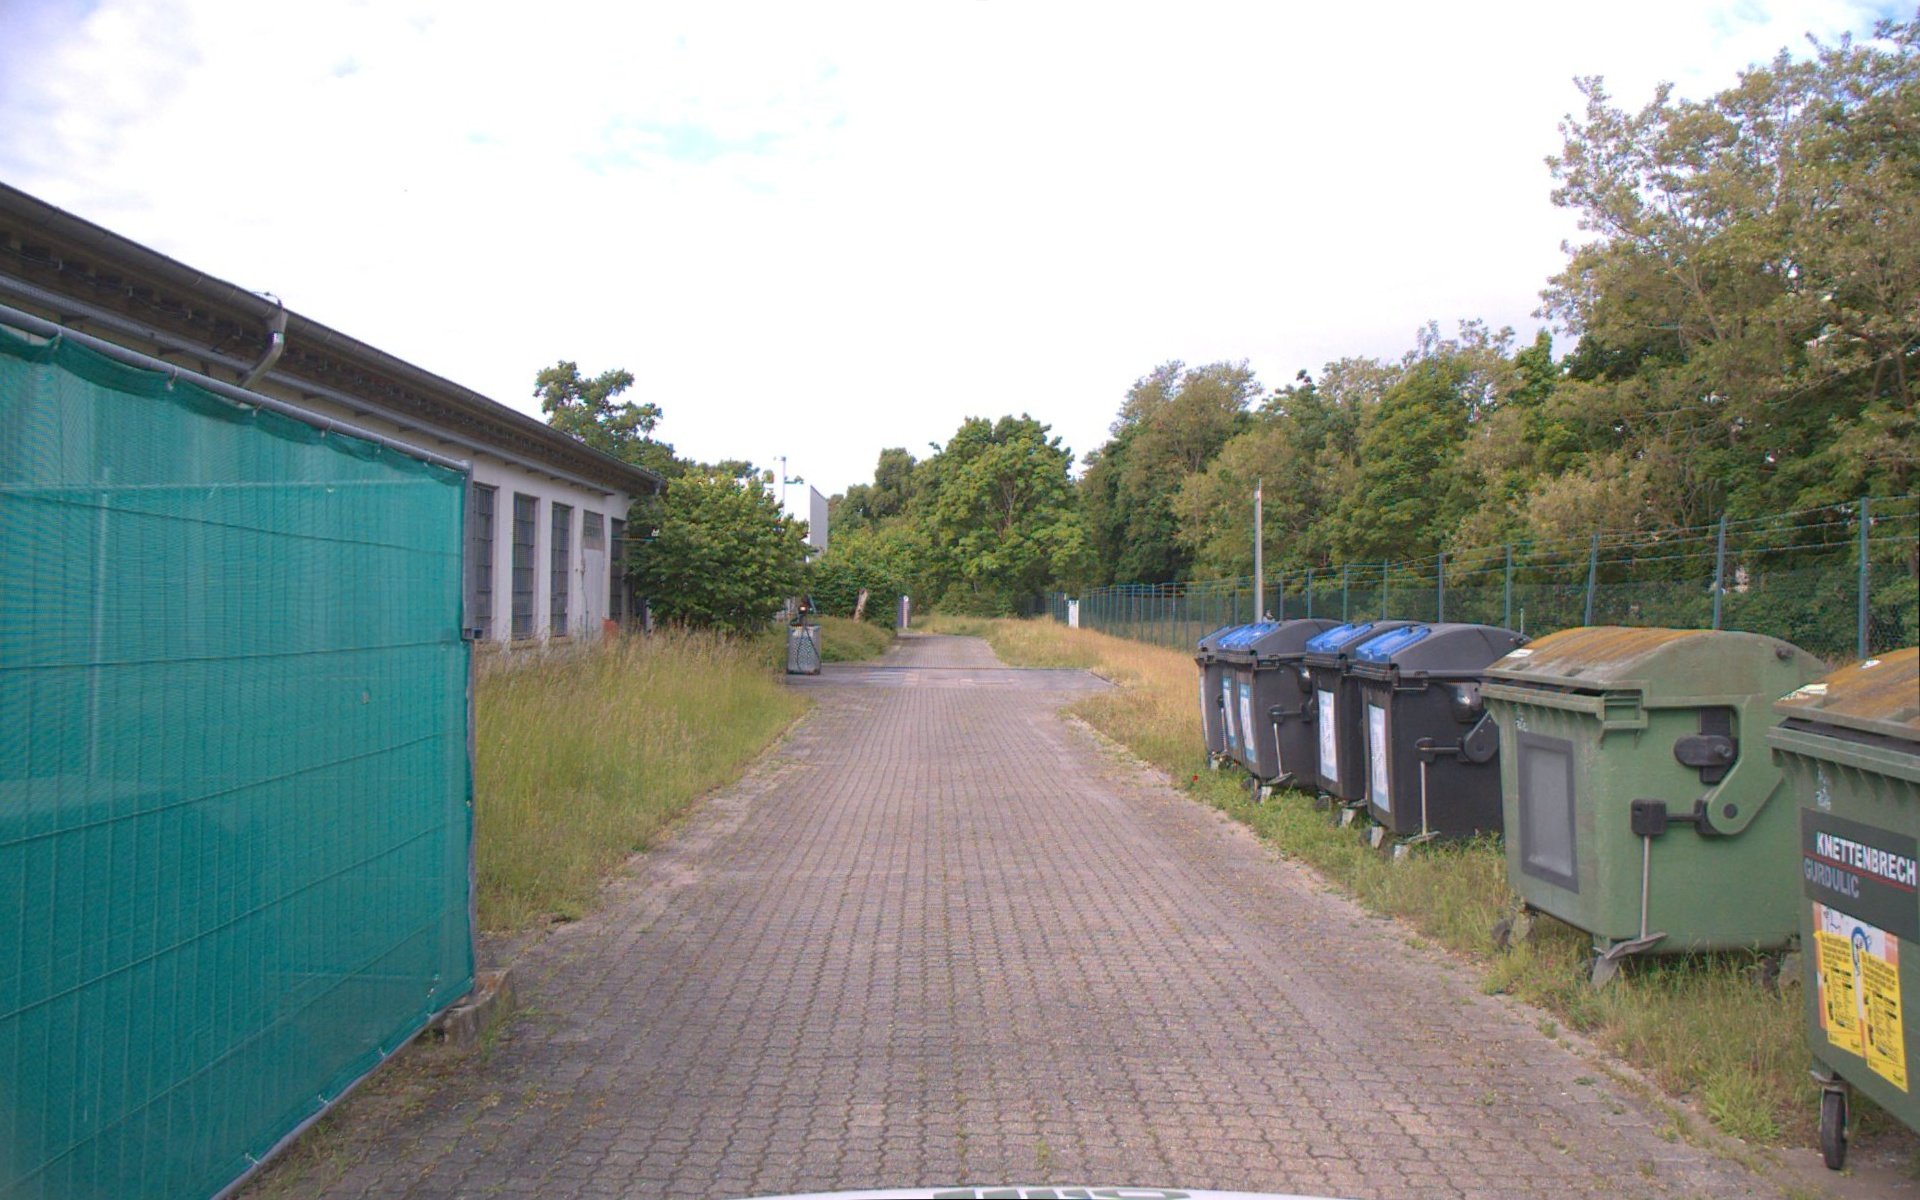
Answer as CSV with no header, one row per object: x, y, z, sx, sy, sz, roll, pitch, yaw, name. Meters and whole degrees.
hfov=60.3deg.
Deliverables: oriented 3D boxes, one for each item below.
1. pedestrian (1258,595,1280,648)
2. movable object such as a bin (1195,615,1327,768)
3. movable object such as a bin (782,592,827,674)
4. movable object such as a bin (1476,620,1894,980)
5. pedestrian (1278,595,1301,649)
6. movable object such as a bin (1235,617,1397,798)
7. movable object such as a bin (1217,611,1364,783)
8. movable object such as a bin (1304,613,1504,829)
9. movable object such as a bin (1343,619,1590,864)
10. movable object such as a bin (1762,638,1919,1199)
11.974,0.818,64.093,0.744,2.049,0.664,0,-1,-2,pedestrian
2.848,0.846,15.818,1.099,1.374,1.426,1,-1,5,movable object such as a bin
-3.834,0.808,40.789,0.915,2.017,0.854,0,-1,8,movable object such as a bin
2.905,0.753,6.818,1.100,1.319,1.379,1,-1,-2,movable object such as a bin
12.734,0.851,63.971,0.744,2.049,0.664,0,-1,-2,pedestrian
2.783,0.813,13.097,1.099,1.344,1.326,0,0,5,movable object such as a bin
2.849,0.815,14.400,1.099,1.403,1.326,1,-1,5,movable object such as a bin
3.069,0.804,11.597,1.099,1.398,1.494,1,-1,5,movable object such as a bin
3.008,0.801,10.015,1.130,1.348,1.494,1,-1,5,movable object such as a bin
2.845,0.819,4.213,1.099,1.423,1.386,1,-1,10,movable object such as a bin
